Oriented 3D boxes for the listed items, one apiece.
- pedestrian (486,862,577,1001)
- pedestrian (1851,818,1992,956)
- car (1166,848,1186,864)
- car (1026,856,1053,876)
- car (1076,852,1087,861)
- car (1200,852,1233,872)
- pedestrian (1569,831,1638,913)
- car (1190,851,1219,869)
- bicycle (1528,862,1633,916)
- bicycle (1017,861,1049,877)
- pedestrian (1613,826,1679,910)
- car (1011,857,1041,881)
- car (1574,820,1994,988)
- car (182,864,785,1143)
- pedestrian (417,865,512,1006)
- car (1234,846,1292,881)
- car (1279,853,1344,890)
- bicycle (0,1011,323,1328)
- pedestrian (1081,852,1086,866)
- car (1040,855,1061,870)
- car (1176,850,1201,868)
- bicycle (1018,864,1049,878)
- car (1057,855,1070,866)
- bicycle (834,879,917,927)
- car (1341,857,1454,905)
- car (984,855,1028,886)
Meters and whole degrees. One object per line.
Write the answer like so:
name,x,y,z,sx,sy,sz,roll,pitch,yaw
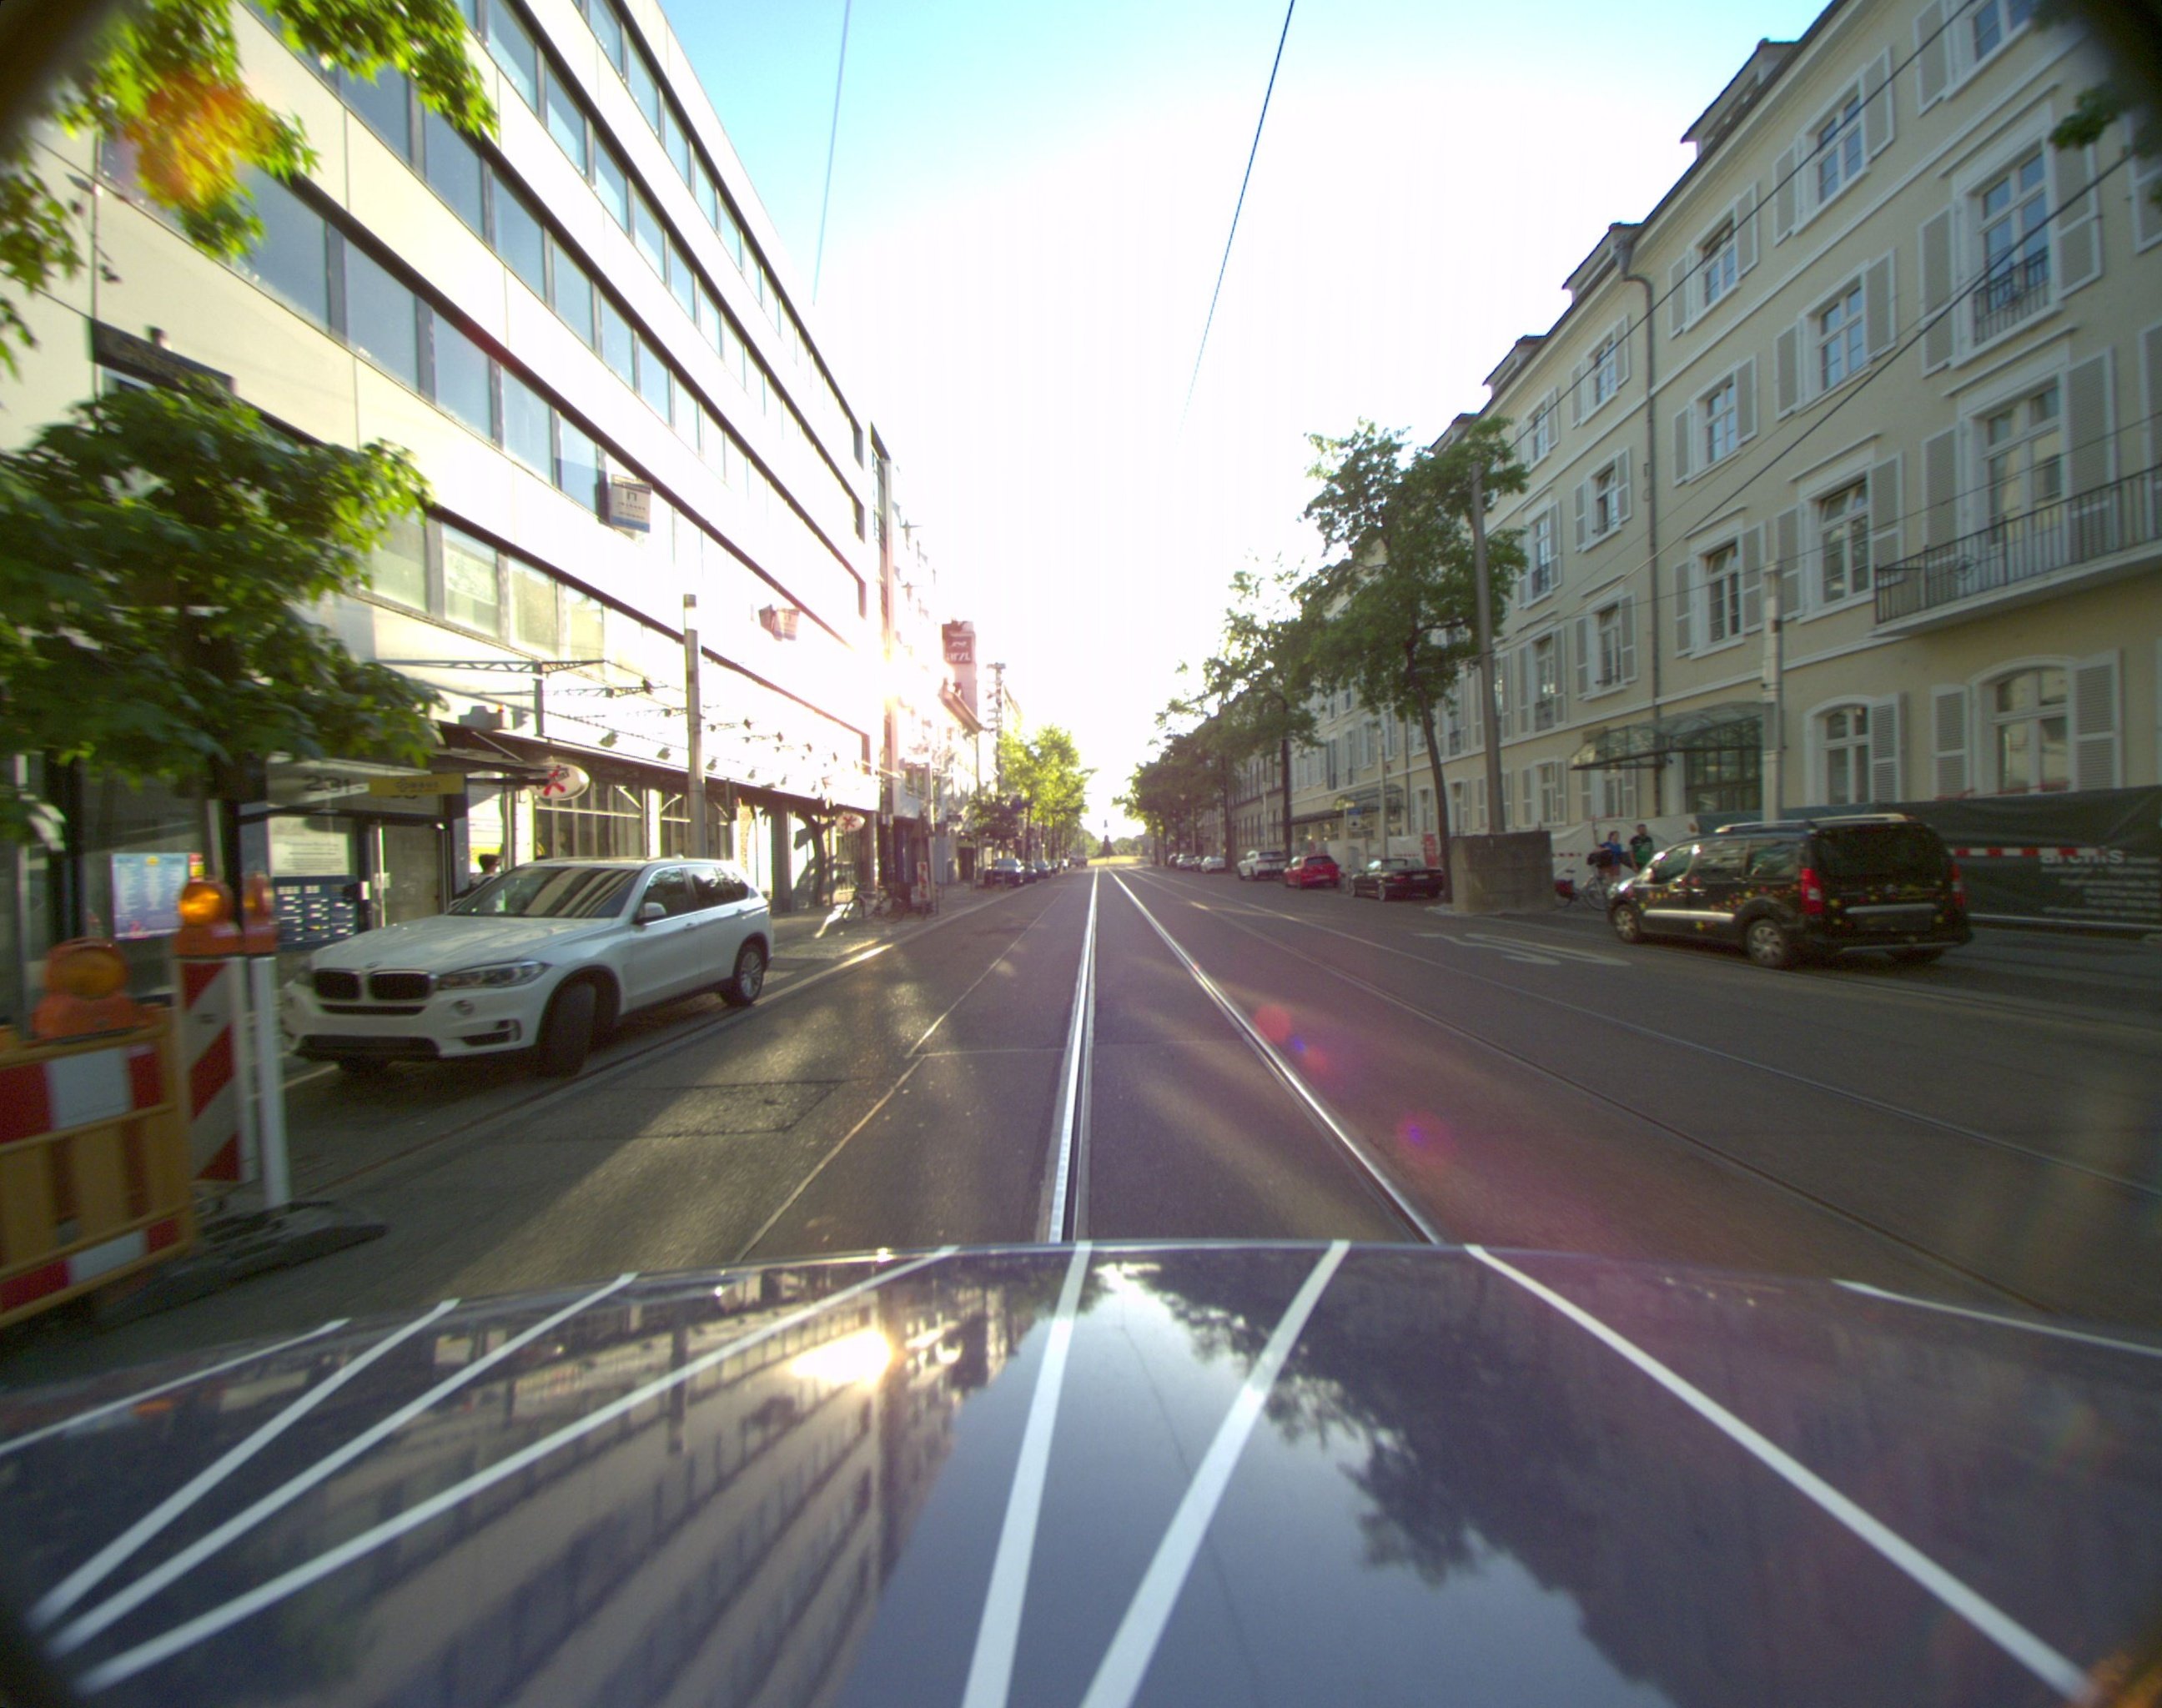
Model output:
pedestrian,-7.505,1.033,10.401,0.707,1.820,0.635,-2,1,1
pedestrian,11.612,0.439,10.535,0.776,1.782,0.984,-4,1,3
car,11.912,0.270,95.494,1.931,1.946,4.766,-1,0,1
car,-3.334,0.979,62.027,1.770,1.502,4.287,-2,0,2
car,0.154,0.492,138.080,1.827,1.603,3.796,-1,0,2
car,10.851,0.618,61.160,1.897,1.458,4.617,-5,0,2
pedestrian,11.987,0.399,17.474,0.867,1.771,0.884,-4,1,1
car,11.145,0.573,69.031,1.745,1.458,4.342,-4,0,-1
bicycle,11.425,0.767,17.474,0.760,1.115,2.045,-5,0,-9
bicycle,-3.713,1.177,58.798,2.325,1.181,0.751,-2,0,3
pedestrian,12.854,0.309,17.309,0.721,1.802,0.876,-4,1,1
car,-3.853,0.999,52.270,1.871,1.502,4.242,1,0,-6
car,9.352,0.557,10.801,1.862,1.821,4.559,-3,0,3
car,-4.867,1.012,7.427,2.028,1.727,4.906,1,0,0
pedestrian,-8.264,1.065,10.208,0.690,1.820,0.635,-2,1,1
car,10.180,0.509,42.938,1.870,1.679,4.950,-4,0,-2
car,9.997,0.703,33.243,1.664,1.397,4.141,-4,0,2
bicycle,-4.501,1.376,3.284,0.494,0.976,1.930,-2,0,0
pedestrian,0.347,0.682,102.925,0.705,1.858,0.792,-2,1,-1
car,-3.157,0.873,79.216,1.798,1.502,3.986,1,0,2
car,11.371,0.511,80.628,1.952,1.731,4.766,-4,0,1
bicycle,-3.537,1.248,56.825,2.249,0.982,0.615,-2,0,3
car,-2.403,0.884,103.412,1.564,1.391,3.698,1,0,2
bicycle,-5.168,1.215,19.157,1.816,1.128,0.841,0,2,9
car,9.976,0.781,24.333,1.722,1.238,4.508,-4,0,1
car,-4.300,0.920,44.441,1.985,1.679,4.874,1,0,1
